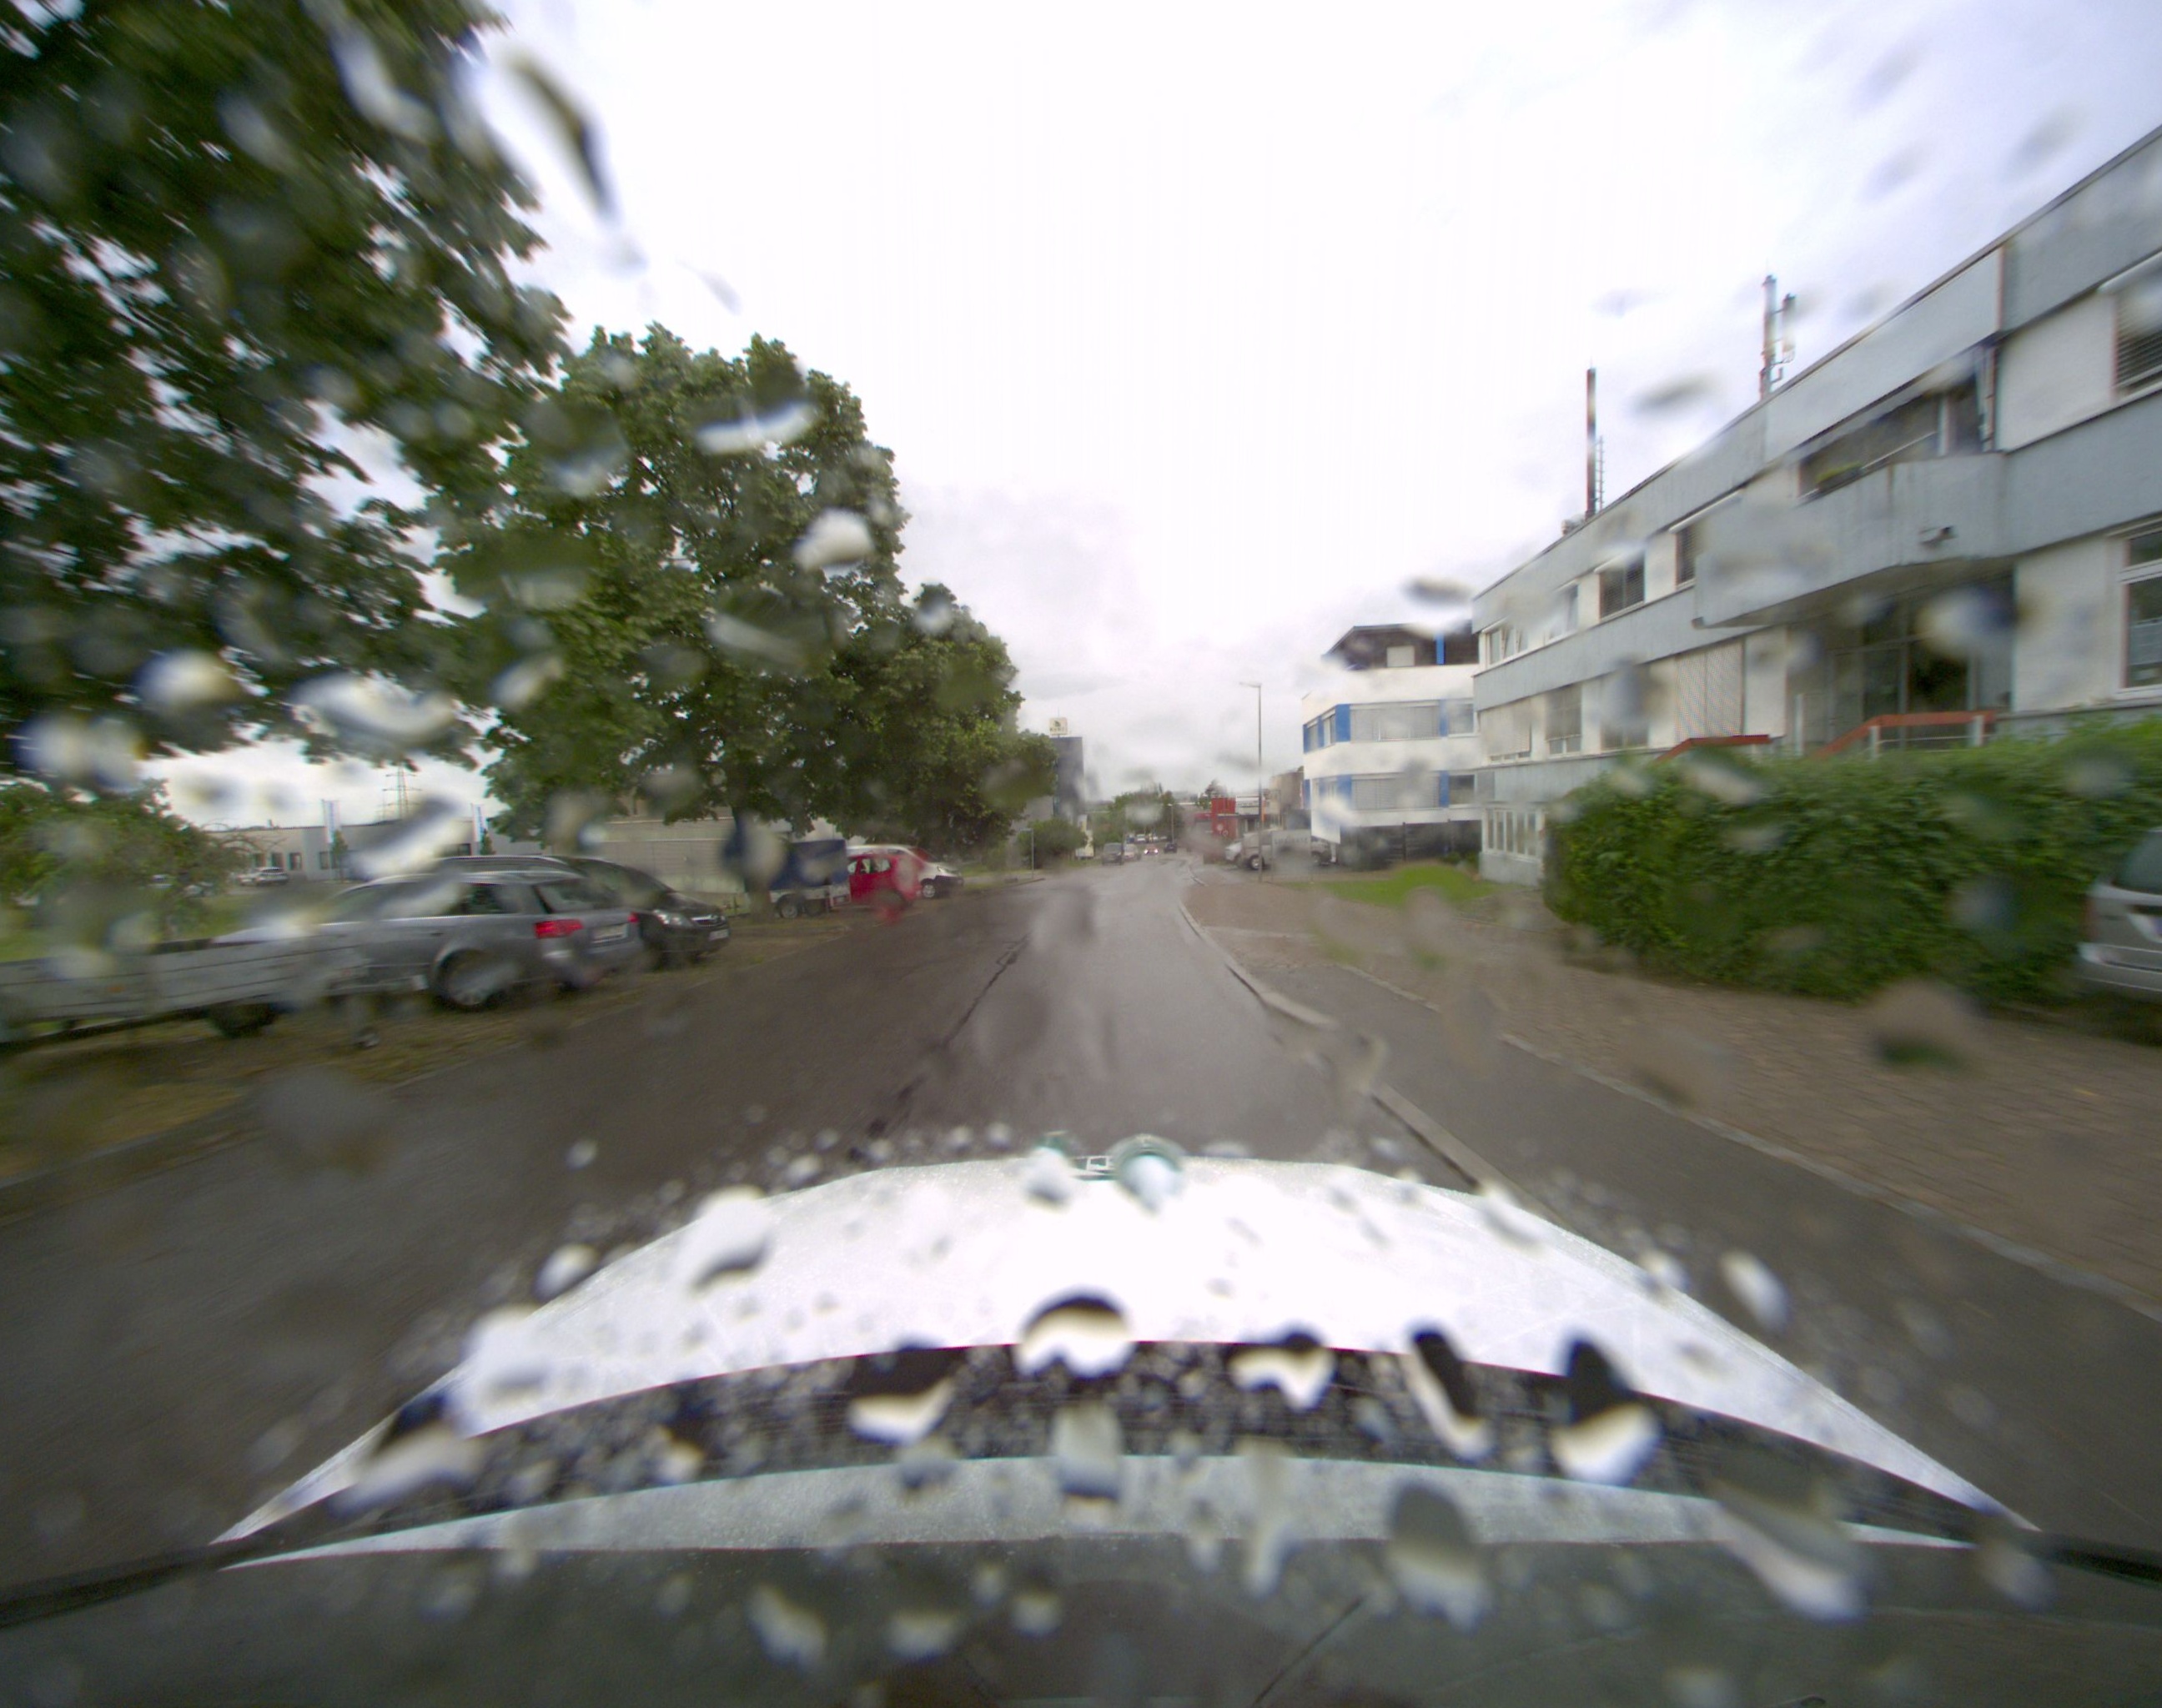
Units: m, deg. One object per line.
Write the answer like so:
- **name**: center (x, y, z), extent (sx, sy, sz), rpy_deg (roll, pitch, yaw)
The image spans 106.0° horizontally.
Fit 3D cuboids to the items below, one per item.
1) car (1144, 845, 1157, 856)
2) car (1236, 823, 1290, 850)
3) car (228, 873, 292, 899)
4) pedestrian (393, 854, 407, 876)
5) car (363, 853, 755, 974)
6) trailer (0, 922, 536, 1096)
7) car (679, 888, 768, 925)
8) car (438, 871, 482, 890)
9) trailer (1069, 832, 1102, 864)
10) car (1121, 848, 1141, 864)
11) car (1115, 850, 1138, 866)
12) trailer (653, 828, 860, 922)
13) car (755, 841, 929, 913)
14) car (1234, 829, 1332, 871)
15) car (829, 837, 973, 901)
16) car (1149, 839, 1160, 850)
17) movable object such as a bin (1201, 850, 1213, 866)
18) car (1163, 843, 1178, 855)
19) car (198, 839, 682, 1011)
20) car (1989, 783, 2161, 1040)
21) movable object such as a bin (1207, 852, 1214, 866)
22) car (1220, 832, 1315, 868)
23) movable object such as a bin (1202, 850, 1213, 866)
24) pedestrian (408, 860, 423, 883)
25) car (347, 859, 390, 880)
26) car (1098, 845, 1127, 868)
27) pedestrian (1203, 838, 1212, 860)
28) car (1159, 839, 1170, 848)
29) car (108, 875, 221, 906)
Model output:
- **car**: center (10.173, -0.503, 119.481), extent (1.739, 1.508, 3.939), rpy_deg (-5, -1, 4)
- **car**: center (19.888, -1.870, 89.105), extent (5.271, 2.013, 2.226), rpy_deg (-10, -1, 6)
- **car**: center (-65.935, 2.557, 65.414), extent (4.659, 1.854, 2.295), rpy_deg (-1, 2, 28)
- **pedestrian**: center (-62.201, 1.011, 74.385), extent (0.638, 2.013, 0.857), rpy_deg (-2, 0, 36)
- **car**: center (-7.418, 0.813, 11.843), extent (4.596, 1.590, 1.808), rpy_deg (-1, 0, 4)
- **trailer**: center (-7.123, 1.189, 6.683), extent (3.926, 0.961, 2.001), rpy_deg (-2, 1, 2)
- **car**: center (-17.312, 2.514, 39.606), extent (1.543, 1.446, 3.729), rpy_deg (-3, 0, 29)
- **car**: center (-58.518, 2.482, 76.772), extent (3.948, 1.618, 2.013), rpy_deg (-2, 0, 33)
- **trailer**: center (0.632, -0.835, 113.004), extent (2.018, 4.203, 4.134), rpy_deg (-3, 0, -45)
- **car**: center (5.579, 0.234, 90.425), extent (1.947, 1.577, 4.848), rpy_deg (-4, -1, 6)
- **car**: center (4.729, 0.370, 84.090), extent (1.945, 1.461, 5.258), rpy_deg (-3, 0, 7)
- **trailer**: center (-7.766, 0.491, 19.738), extent (4.193, 1.984, 1.776), rpy_deg (-3, -1, 4)
- **car**: center (-6.521, 0.617, 22.523), extent (4.181, 1.721, 1.756), rpy_deg (-3, -1, 1)
- **car**: center (9.780, -0.191, 39.786), extent (4.319, 1.773, 2.092), rpy_deg (-3, 0, 5)
- **car**: center (-6.033, 0.514, 27.562), extent (4.274, 1.906, 1.867), rpy_deg (-3, -1, 9)
- **car**: center (17.692, -2.213, 195.995), extent (2.186, 2.459, 3.998), rpy_deg (-3, -1, -1)
- **movable object such as a bin**: center (8.801, 0.274, 56.960), extent (0.767, 1.030, 0.810), rpy_deg (-2, 0, 8)
- **car**: center (13.357, -0.711, 121.435), extent (1.947, 1.675, 4.476), rpy_deg (-3, -1, 3)
- **car**: center (-7.128, 0.739, 9.362), extent (4.054, 1.722, 2.029), rpy_deg (-1, 0, 5)
- **car**: center (8.772, 0.251, 4.930), extent (4.295, 1.584, 1.860), rpy_deg (-3, -1, 3)
- **movable object such as a bin**: center (9.296, 0.332, 58.518), extent (0.469, 0.967, 0.515), rpy_deg (-2, 0, 8)
- **car**: center (9.748, -0.200, 42.900), extent (4.573, 1.538, 2.083), rpy_deg (-4, 0, 6)
- **movable object such as a bin**: center (8.945, 0.275, 57.684), extent (0.739, 1.066, 0.638), rpy_deg (-2, 0, 8)
- **pedestrian**: center (-61.458, 1.607, 75.165), extent (0.651, 2.004, 0.870), rpy_deg (-2, 0, 34)
- **car**: center (-62.462, 1.370, 71.378), extent (3.948, 1.618, 1.823), rpy_deg (-2, 0, 33)
- **car**: center (2.744, 0.185, 69.548), extent (1.904, 1.831, 4.859), rpy_deg (-2, 0, 8)
- **pedestrian**: center (10.427, -0.406, 67.143), extent (0.732, 1.767, 0.810), rpy_deg (-2, 0, 8)
- **car**: center (20.193, -2.612, 196.731), extent (2.138, 2.013, 3.939), rpy_deg (-3, -1, 0)
- **car**: center (-61.441, 2.417, 54.668), extent (2.261, 1.648, 4.649), rpy_deg (-4, 0, 32)
